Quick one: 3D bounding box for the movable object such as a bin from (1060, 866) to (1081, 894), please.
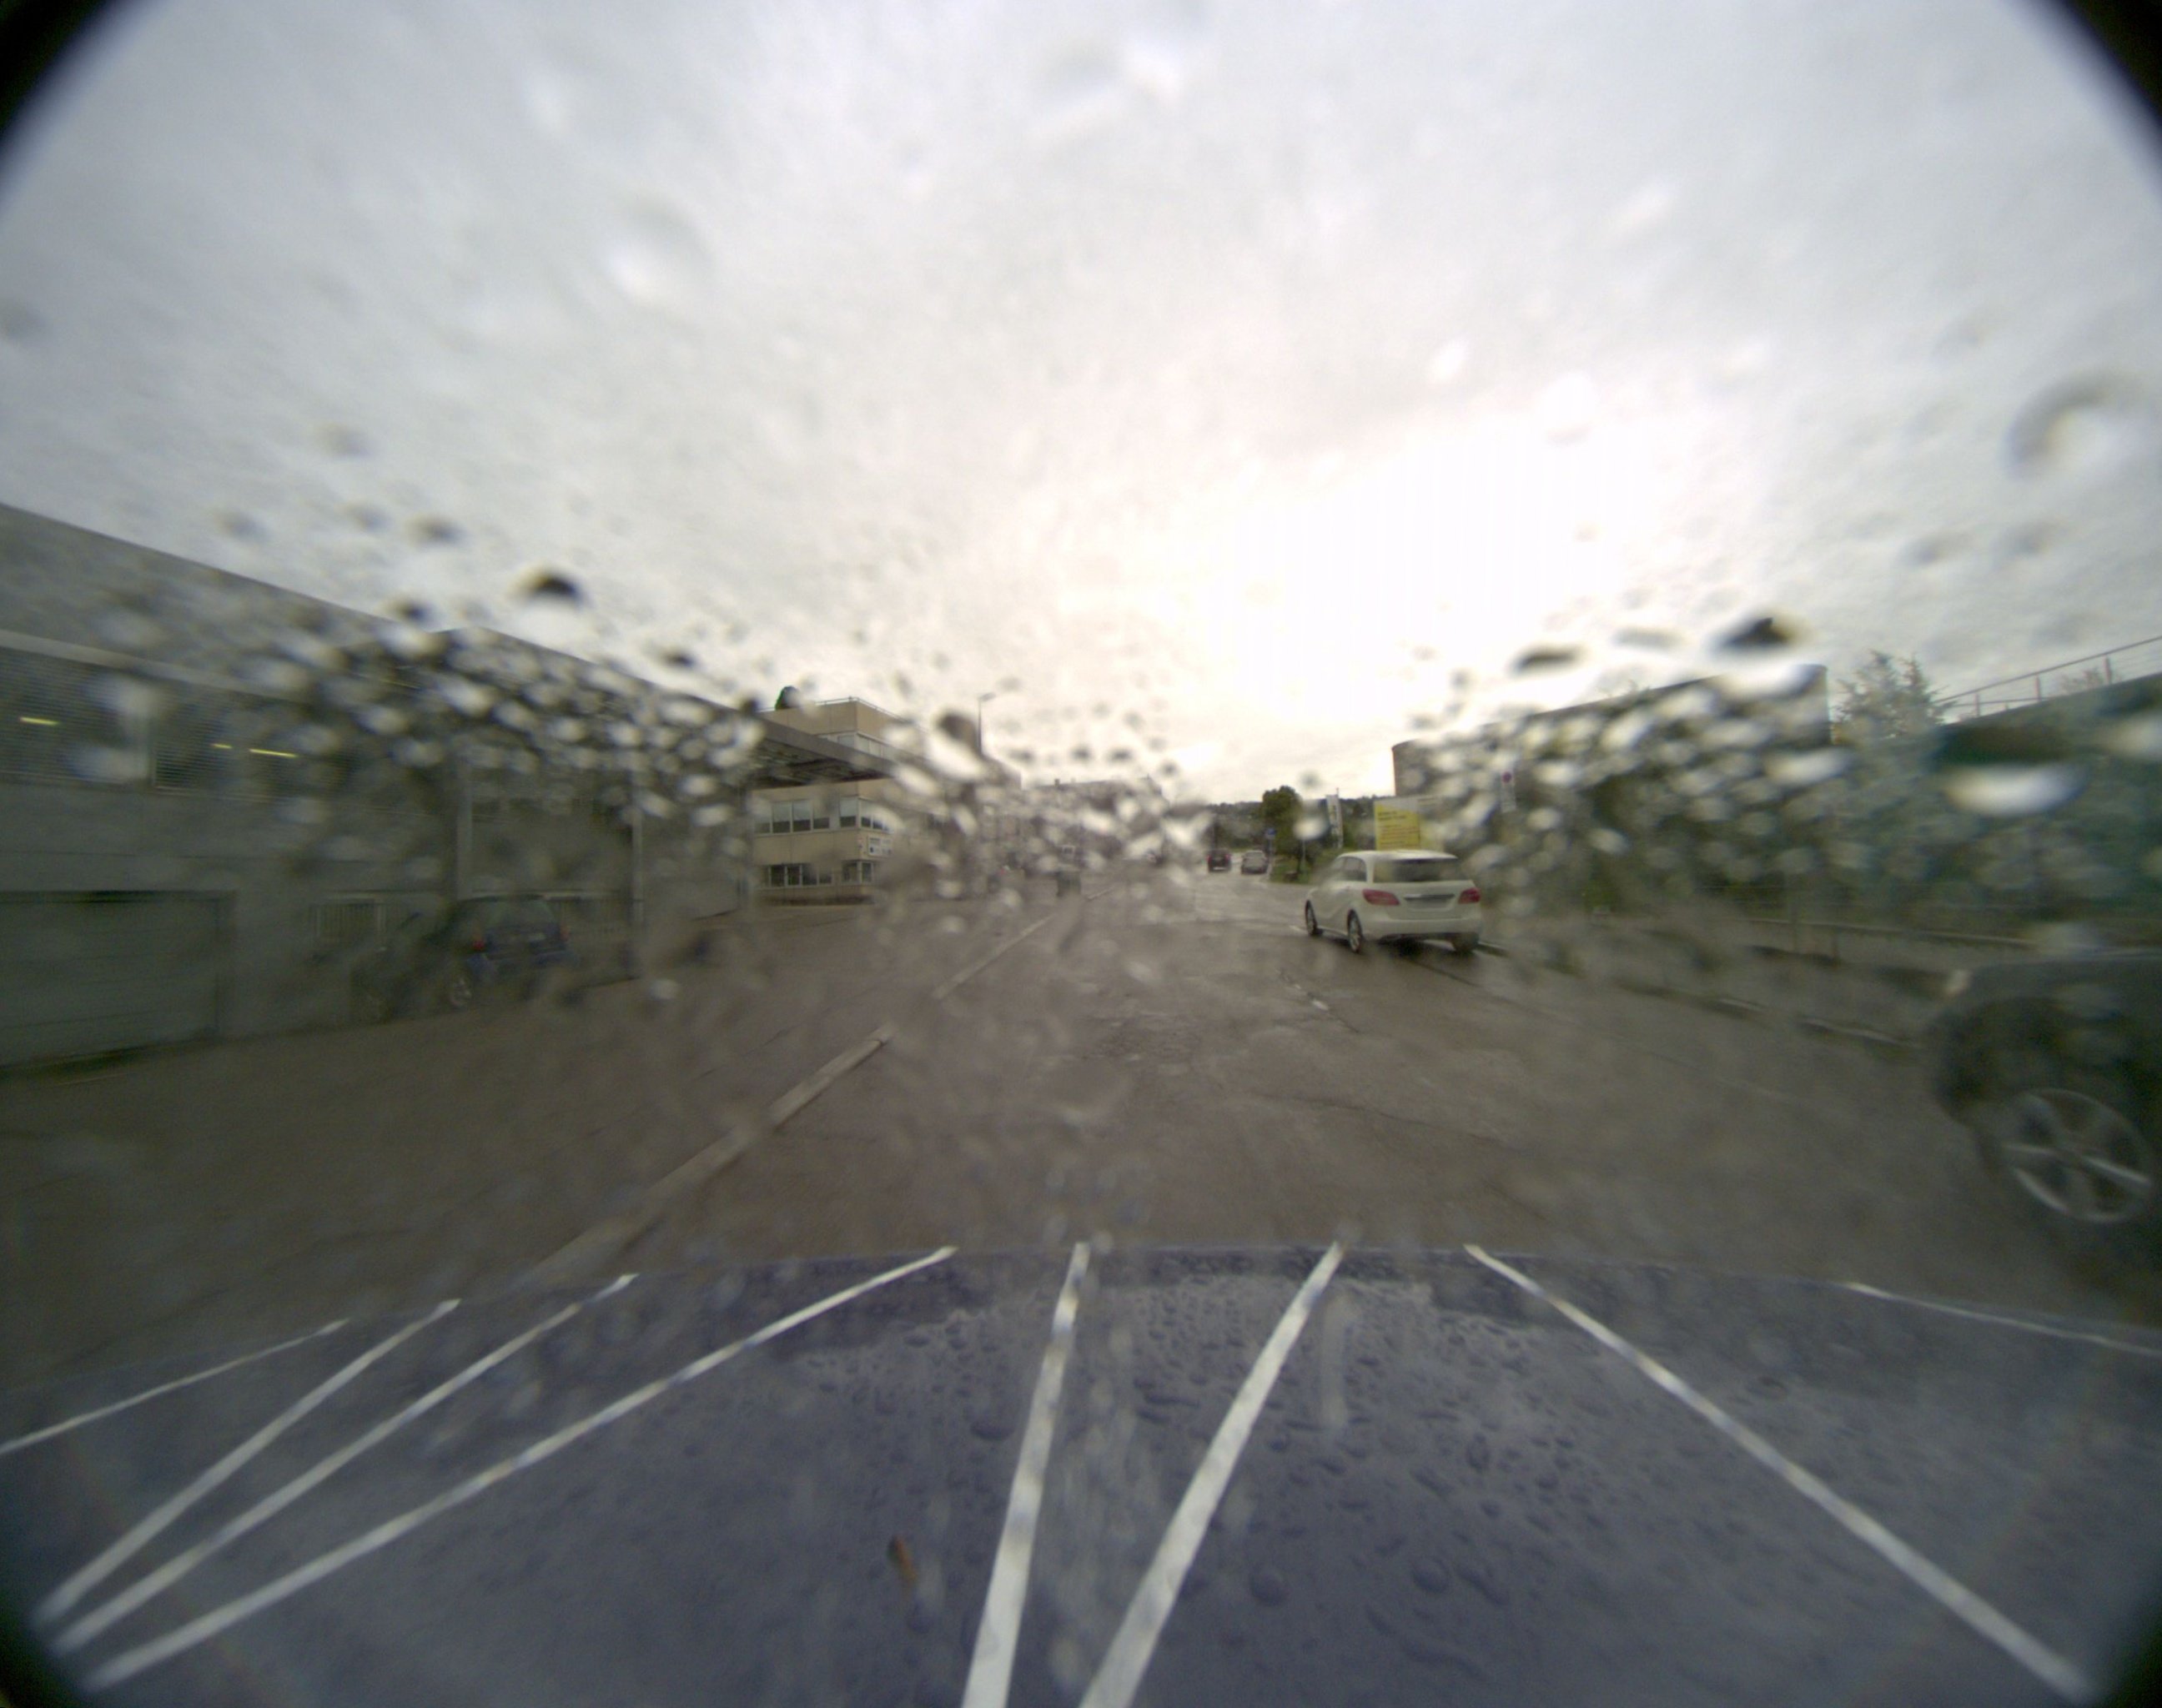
[{"bbox_3d":[-0.426,1.064,31.119,0.735,1.084,0.594,-2,1,8],"label":"movable object such as a bin"}]

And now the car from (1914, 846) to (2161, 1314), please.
[{"bbox_3d":[4.356,0.743,1.222,1.636,1.549,4.084,-1,0,2],"label":"car"}]

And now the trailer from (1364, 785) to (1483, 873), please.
[{"bbox_3d":[16.866,-1.144,37.620,2.393,4.065,4.687,-2,1,-38],"label":"trailer"}]

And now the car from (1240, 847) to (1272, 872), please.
[{"bbox_3d":[13.701,0.411,59.675,1.997,1.902,4.002,-1,0,7],"label":"car"}]

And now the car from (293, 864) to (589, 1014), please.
[{"bbox_3d":[-9.268,1.216,11.050,3.440,1.490,1.620,-11,-2,19],"label":"car"}]

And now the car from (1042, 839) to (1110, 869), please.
[{"bbox_3d":[-0.393,0.019,63.580,5.147,2.280,2.204,-2,0,15],"label":"car"}]

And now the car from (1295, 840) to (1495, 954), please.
[{"bbox_3d":[4.978,0.602,12.740,1.739,1.527,4.251,-2,0,3],"label":"car"}]

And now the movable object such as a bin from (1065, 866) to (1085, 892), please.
[{"bbox_3d":[-0.251,1.051,32.261,0.735,1.084,0.594,-2,1,8],"label":"movable object such as a bin"}]

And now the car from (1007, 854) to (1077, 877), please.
[{"bbox_3d":[-2.766,0.825,54.207,4.618,1.488,1.943,-2,0,13],"label":"car"}]

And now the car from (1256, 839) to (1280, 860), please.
[{"bbox_3d":[19.723,-0.477,80.070,1.996,2.002,4.005,-2,0,19],"label":"car"}]

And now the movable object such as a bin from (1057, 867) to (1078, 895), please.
[{"bbox_3d":[-0.534,1.068,30.485,0.735,1.084,0.594,-2,1,8],"label":"movable object such as a bin"}]

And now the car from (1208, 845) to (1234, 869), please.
[{"bbox_3d":[12.386,0.314,67.371,2.066,2.001,4.516,0,-1,8],"label":"car"}]

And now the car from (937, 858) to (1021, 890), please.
[{"bbox_3d":[-5.012,0.977,37.611,3.745,1.531,1.632,-1,0,12],"label":"car"}]

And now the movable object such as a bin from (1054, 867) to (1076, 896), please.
[{"bbox_3d":[-0.611,1.063,29.870,0.735,1.084,0.594,-2,1,8],"label":"movable object such as a bin"}]
